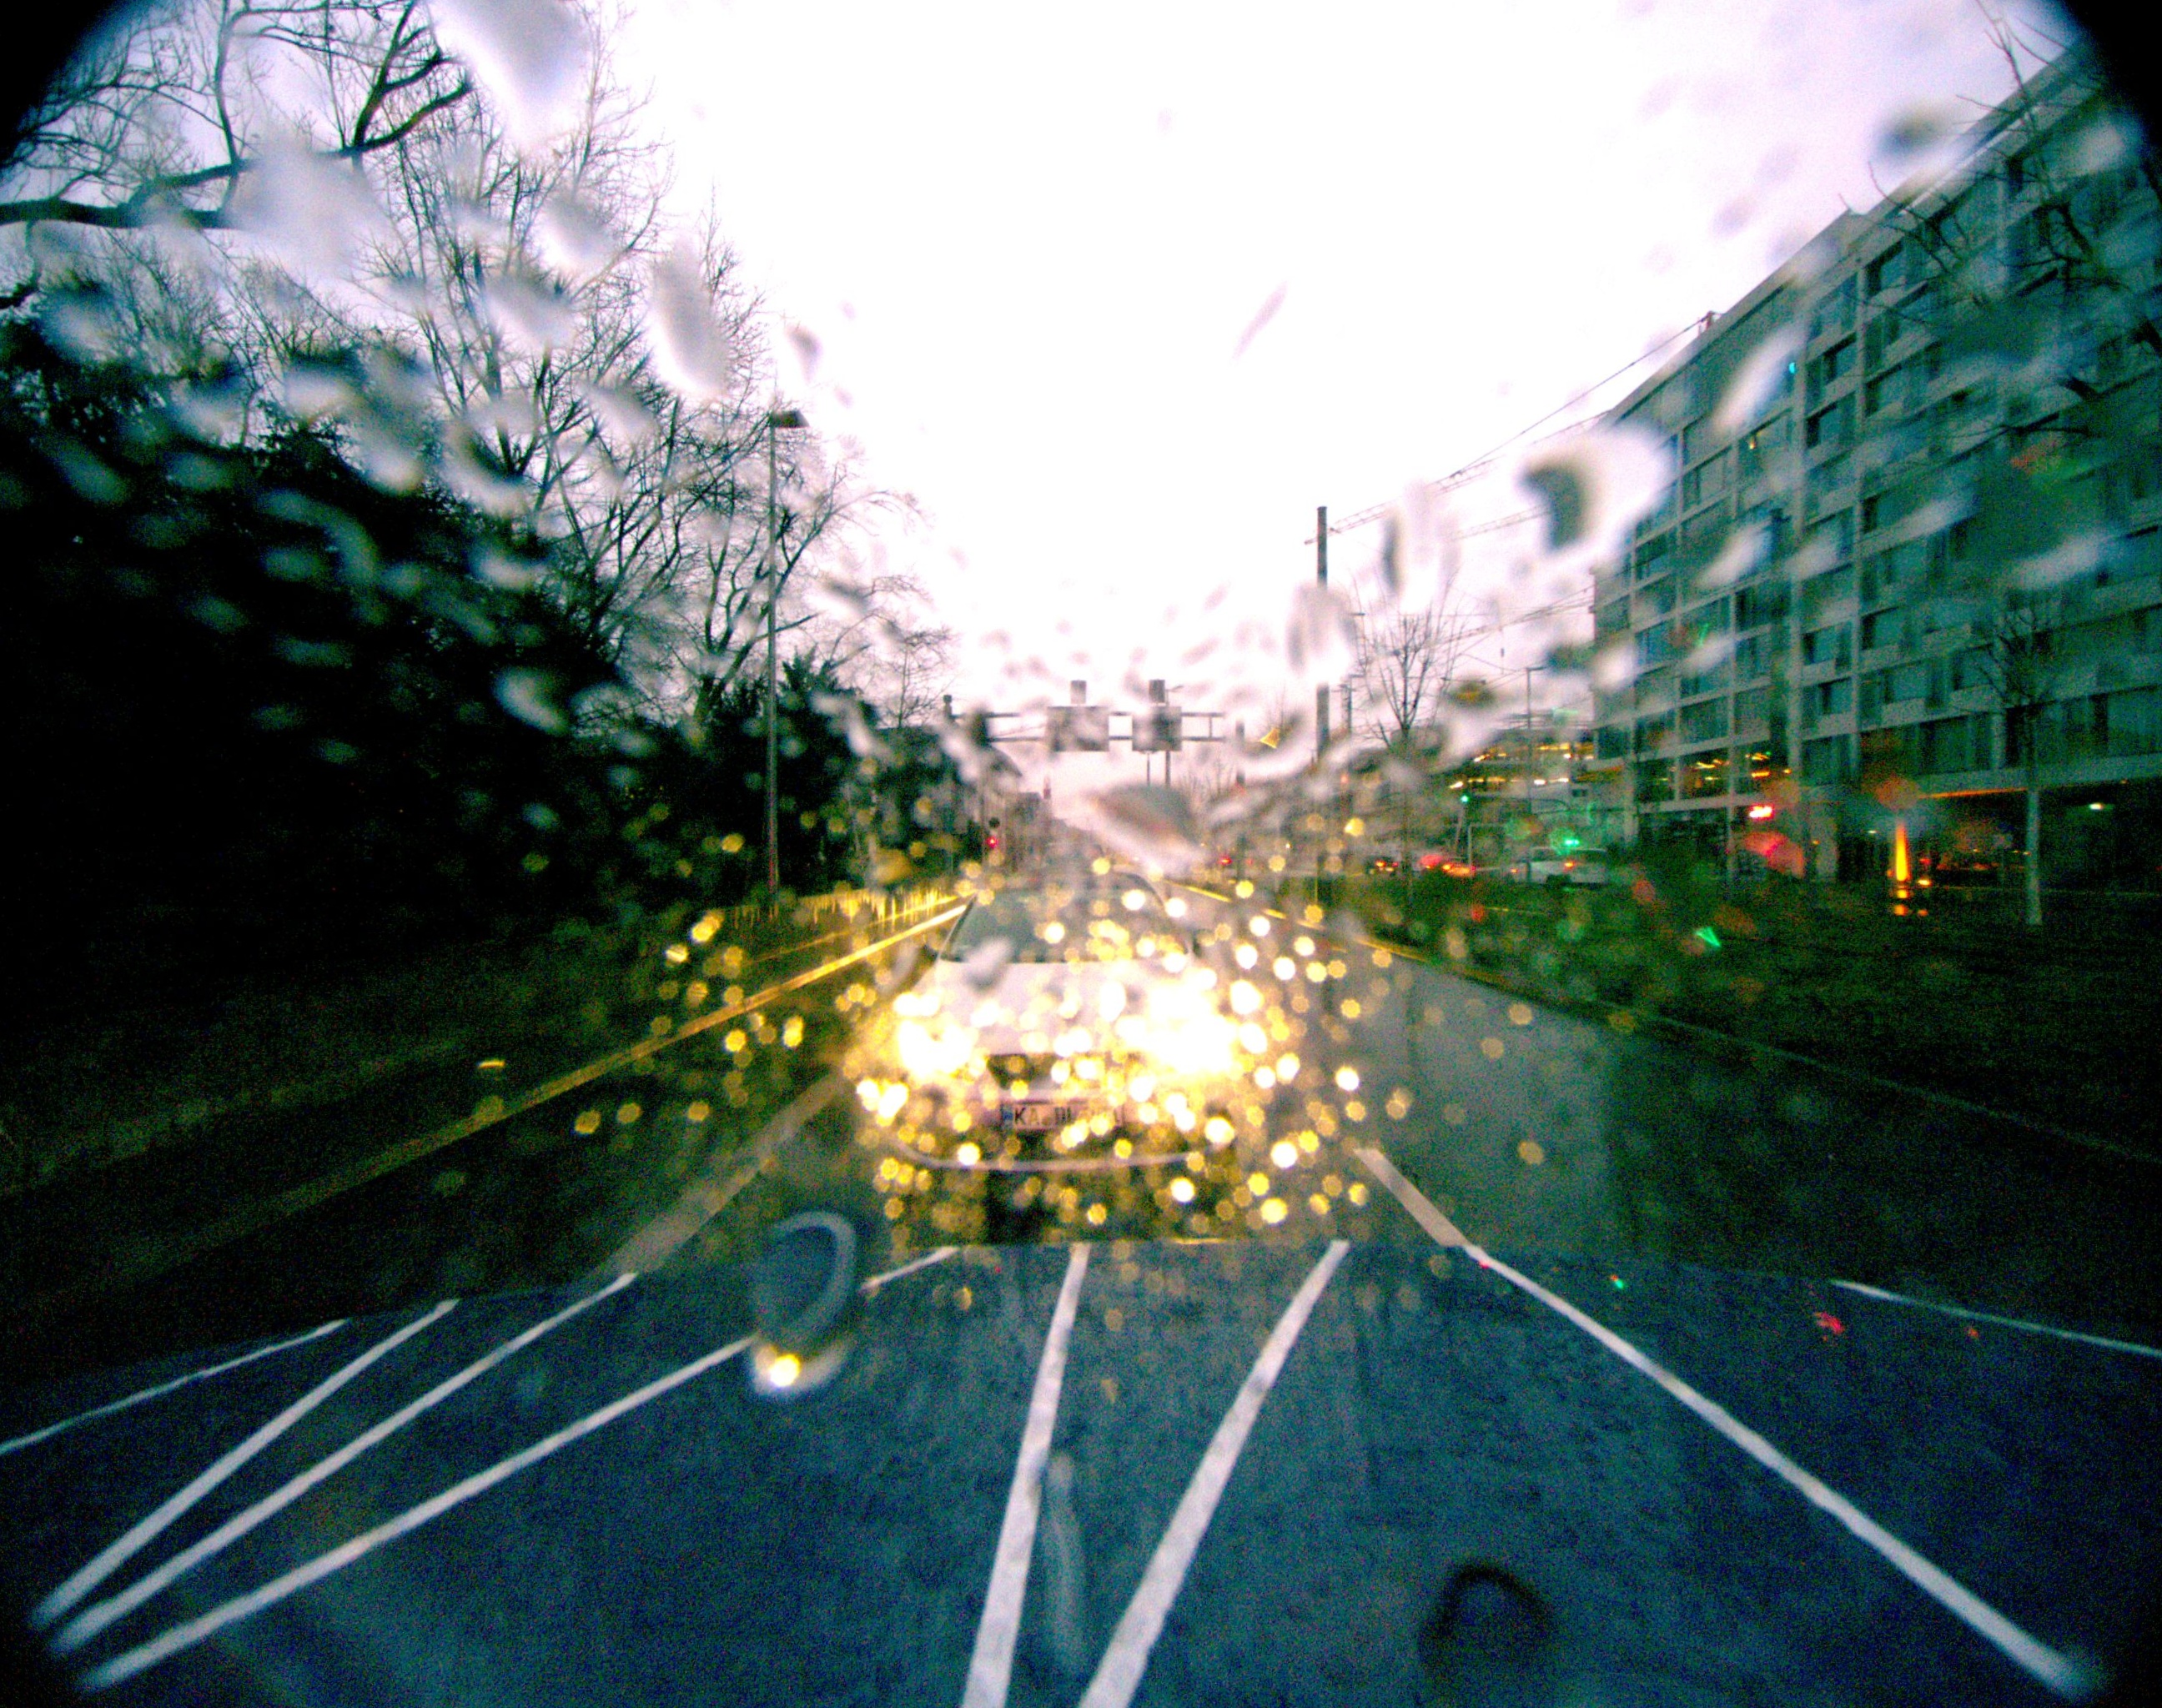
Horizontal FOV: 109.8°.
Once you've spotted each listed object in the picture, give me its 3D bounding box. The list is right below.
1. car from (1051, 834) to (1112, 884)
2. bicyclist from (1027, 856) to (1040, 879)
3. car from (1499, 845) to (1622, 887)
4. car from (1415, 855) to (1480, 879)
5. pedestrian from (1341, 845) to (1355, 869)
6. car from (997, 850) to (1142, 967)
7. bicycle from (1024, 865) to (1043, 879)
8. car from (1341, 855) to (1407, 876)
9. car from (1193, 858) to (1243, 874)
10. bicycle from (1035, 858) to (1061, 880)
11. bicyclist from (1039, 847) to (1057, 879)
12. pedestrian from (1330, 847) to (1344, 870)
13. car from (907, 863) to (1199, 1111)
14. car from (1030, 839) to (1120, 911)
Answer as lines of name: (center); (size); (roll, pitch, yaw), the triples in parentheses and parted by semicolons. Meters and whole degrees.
car: (0.039, 0.153, 27.506); (1.998, 1.618, 4.268); (-2, 0, 0)
bicyclist: (-3.540, 1.031, 56.894); (0.693, 1.675, 0.591); (-3, 1, -33)
car: (20.205, 0.473, 32.327); (2.086, 1.659, 5.043); (0, 0, 1)
car: (20.926, 0.699, 43.524); (1.816, 1.300, 4.000); (0, 0, 1)
pedestrian: (20.762, 0.219, 59.137); (0.710, 1.794, 0.769); (-2, 1, -5)
car: (-0.216, 0.789, 13.273); (2.073, 1.618, 4.267); (-2, 1, -1)
bicycle: (-3.551, 1.343, 56.957); (0.693, 1.036, 1.717); (-3, 1, -32)
car: (20.155, 0.745, 52.498); (2.113, 1.392, 4.252); (0, 0, -15)
car: (11.383, 0.984, 63.421); (3.995, 1.267, 1.818); (0, 0, 5)
bicycle: (-2.337, 1.013, 53.485); (0.969, 1.442, 3.385); (-3, 1, -16)
bicyclist: (-2.323, 0.646, 53.363); (0.969, 2.210, 0.934); (-3, 1, -16)
pedestrian: (19.931, 0.336, 59.170); (0.709, 1.794, 0.770); (-2, 1, 0)
car: (-0.151, 0.888, 7.008); (1.886, 1.552, 4.171); (0, 0, 1)
car: (-0.102, 0.463, 20.054); (2.073, 1.618, 4.268); (-2, 1, 1)
